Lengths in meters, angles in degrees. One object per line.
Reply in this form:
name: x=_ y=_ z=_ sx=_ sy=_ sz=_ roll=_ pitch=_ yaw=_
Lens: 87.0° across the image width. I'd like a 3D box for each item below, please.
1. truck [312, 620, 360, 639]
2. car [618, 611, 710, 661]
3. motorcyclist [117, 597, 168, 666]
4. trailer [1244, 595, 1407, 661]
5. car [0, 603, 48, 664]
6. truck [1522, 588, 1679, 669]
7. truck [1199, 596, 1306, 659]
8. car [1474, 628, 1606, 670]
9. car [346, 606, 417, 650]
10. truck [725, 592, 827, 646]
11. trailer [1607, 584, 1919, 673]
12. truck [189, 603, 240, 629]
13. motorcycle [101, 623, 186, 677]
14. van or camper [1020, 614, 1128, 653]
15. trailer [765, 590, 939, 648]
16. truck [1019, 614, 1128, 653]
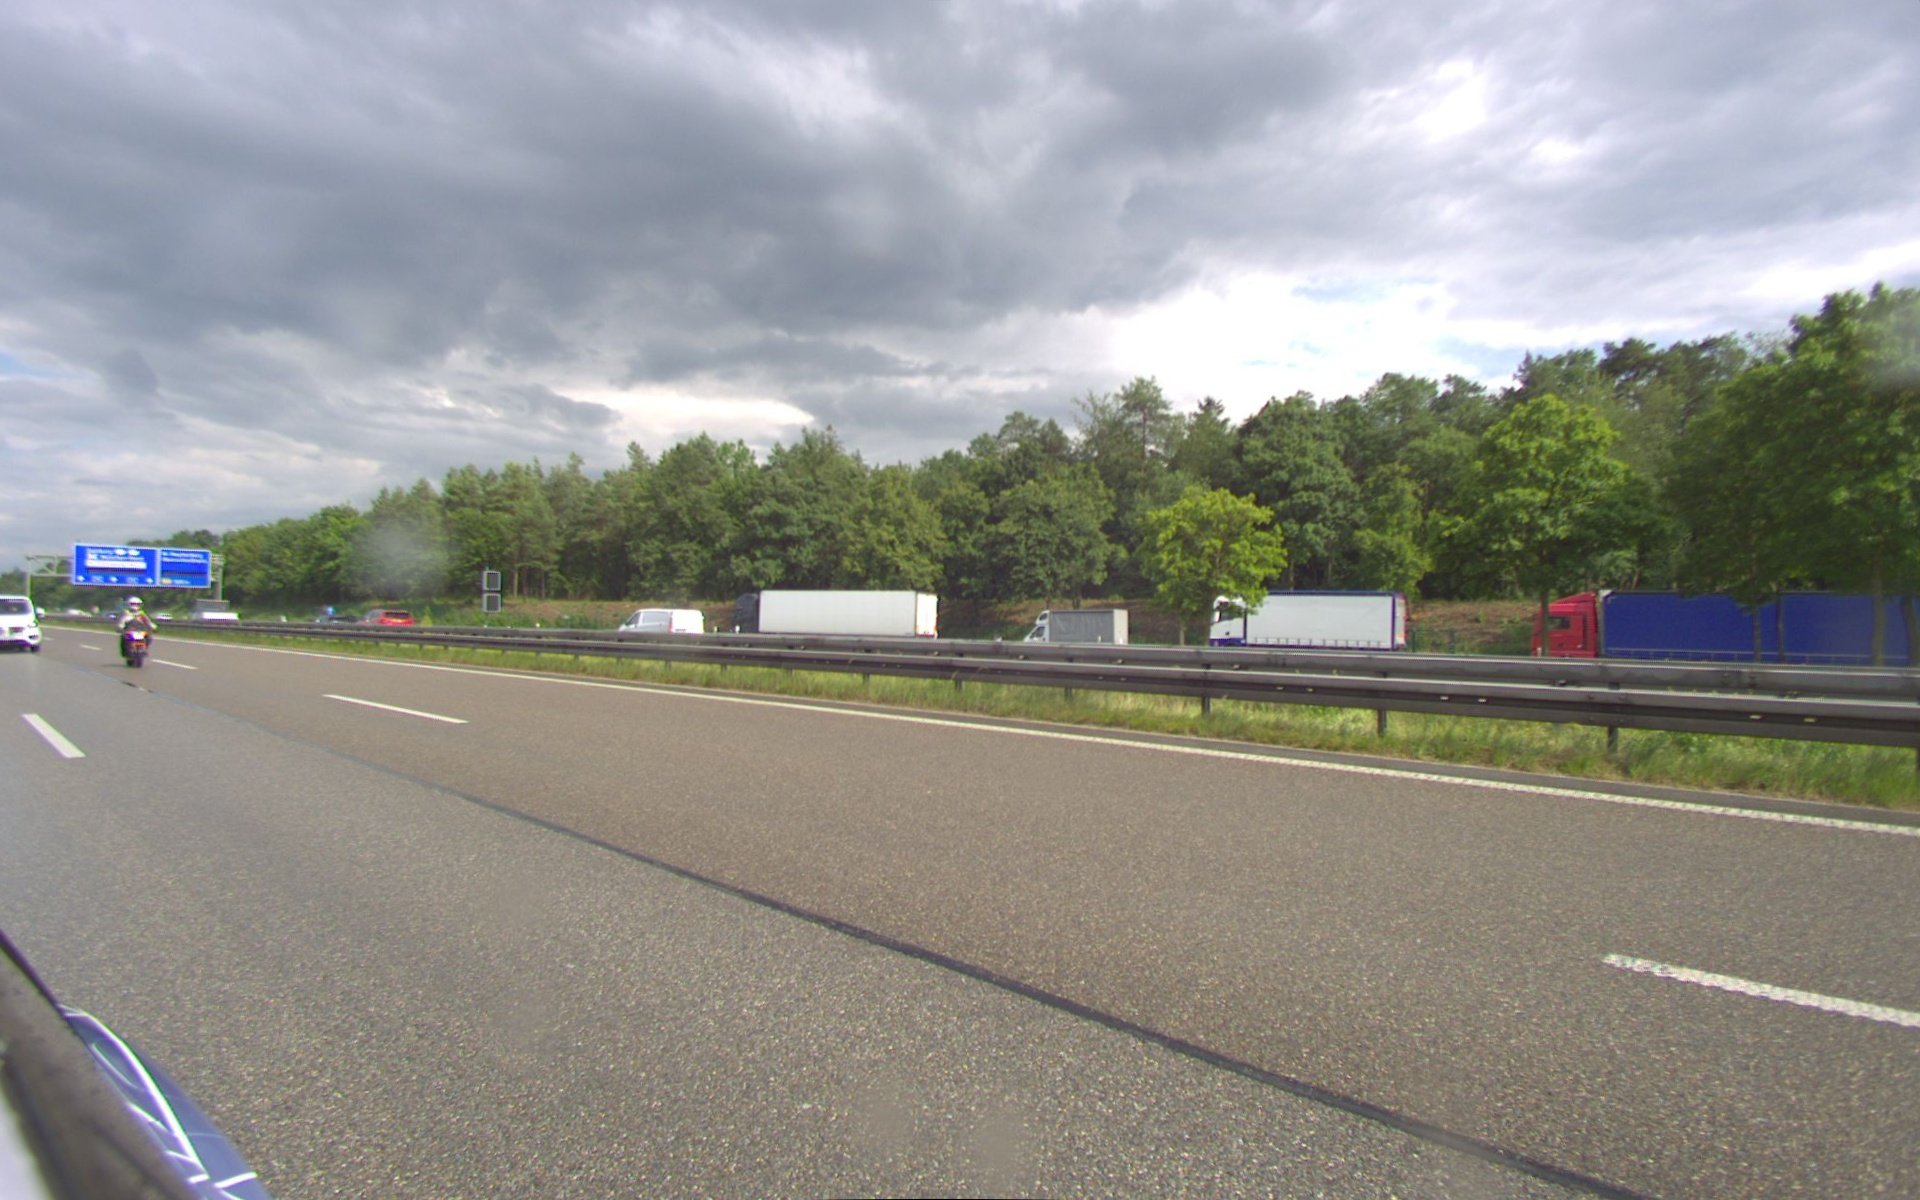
truck: x=-42.946 y=1.999 z=69.601 sx=4.001 sy=1.203 sz=1.867 roll=0 pitch=0 yaw=44
car: x=-13.197 y=1.553 z=44.990 sx=4.780 sy=2.060 sz=1.810 roll=0 pitch=0 yaw=44
motorcyclist: x=-20.916 y=0.791 z=25.894 sx=1.000 sy=1.719 sz=0.872 roll=0 pitch=0 yaw=42
trailer: x=19.203 y=1.422 z=53.396 sx=7.722 sy=3.257 sz=2.557 roll=0 pitch=-1 yaw=34
car: x=-34.163 y=1.134 z=35.906 sx=5.144 sy=2.060 sz=2.318 roll=0 pitch=0 yaw=44
truck: x=29.288 y=1.223 z=46.342 sx=5.887 sy=3.482 sz=2.834 roll=0 pitch=0 yaw=37
truck: x=16.022 y=1.449 z=55.477 sx=5.073 sy=3.292 sz=2.632 roll=0 pitch=0 yaw=34
car: x=31.632 y=2.635 z=55.330 sx=6.120 sy=2.029 sz=1.976 roll=0 pitch=0 yaw=36
car: x=-28.645 y=1.325 z=50.041 sx=4.780 sy=2.060 sz=1.810 roll=0 pitch=0 yaw=44
truck: x=-13.305 y=1.294 z=73.181 sx=6.889 sy=3.732 sz=3.185 roll=0 pitch=0 yaw=30
trailer: x=34.922 y=1.156 z=42.023 sx=13.404 sy=3.431 sz=2.796 roll=-1 pitch=-2 yaw=37
truck: x=-56.307 y=1.168 z=76.410 sx=5.448 sy=1.909 sz=2.232 roll=0 pitch=0 yaw=44
motorcycle: x=-20.958 y=1.232 z=25.944 sx=3.193 sy=1.235 sz=1.172 roll=0 pitch=0 yaw=41
van or camper: x=6.911 y=1.998 z=61.762 sx=6.300 sy=2.282 sz=2.103 roll=0 pitch=0 yaw=31
trailer: x=-7.624 y=1.284 z=69.893 sx=12.521 sy=3.767 sz=3.181 roll=0 pitch=-2 yaw=30
truck: x=6.885 y=1.998 z=61.734 sx=6.296 sy=2.282 sz=2.103 roll=0 pitch=0 yaw=31
